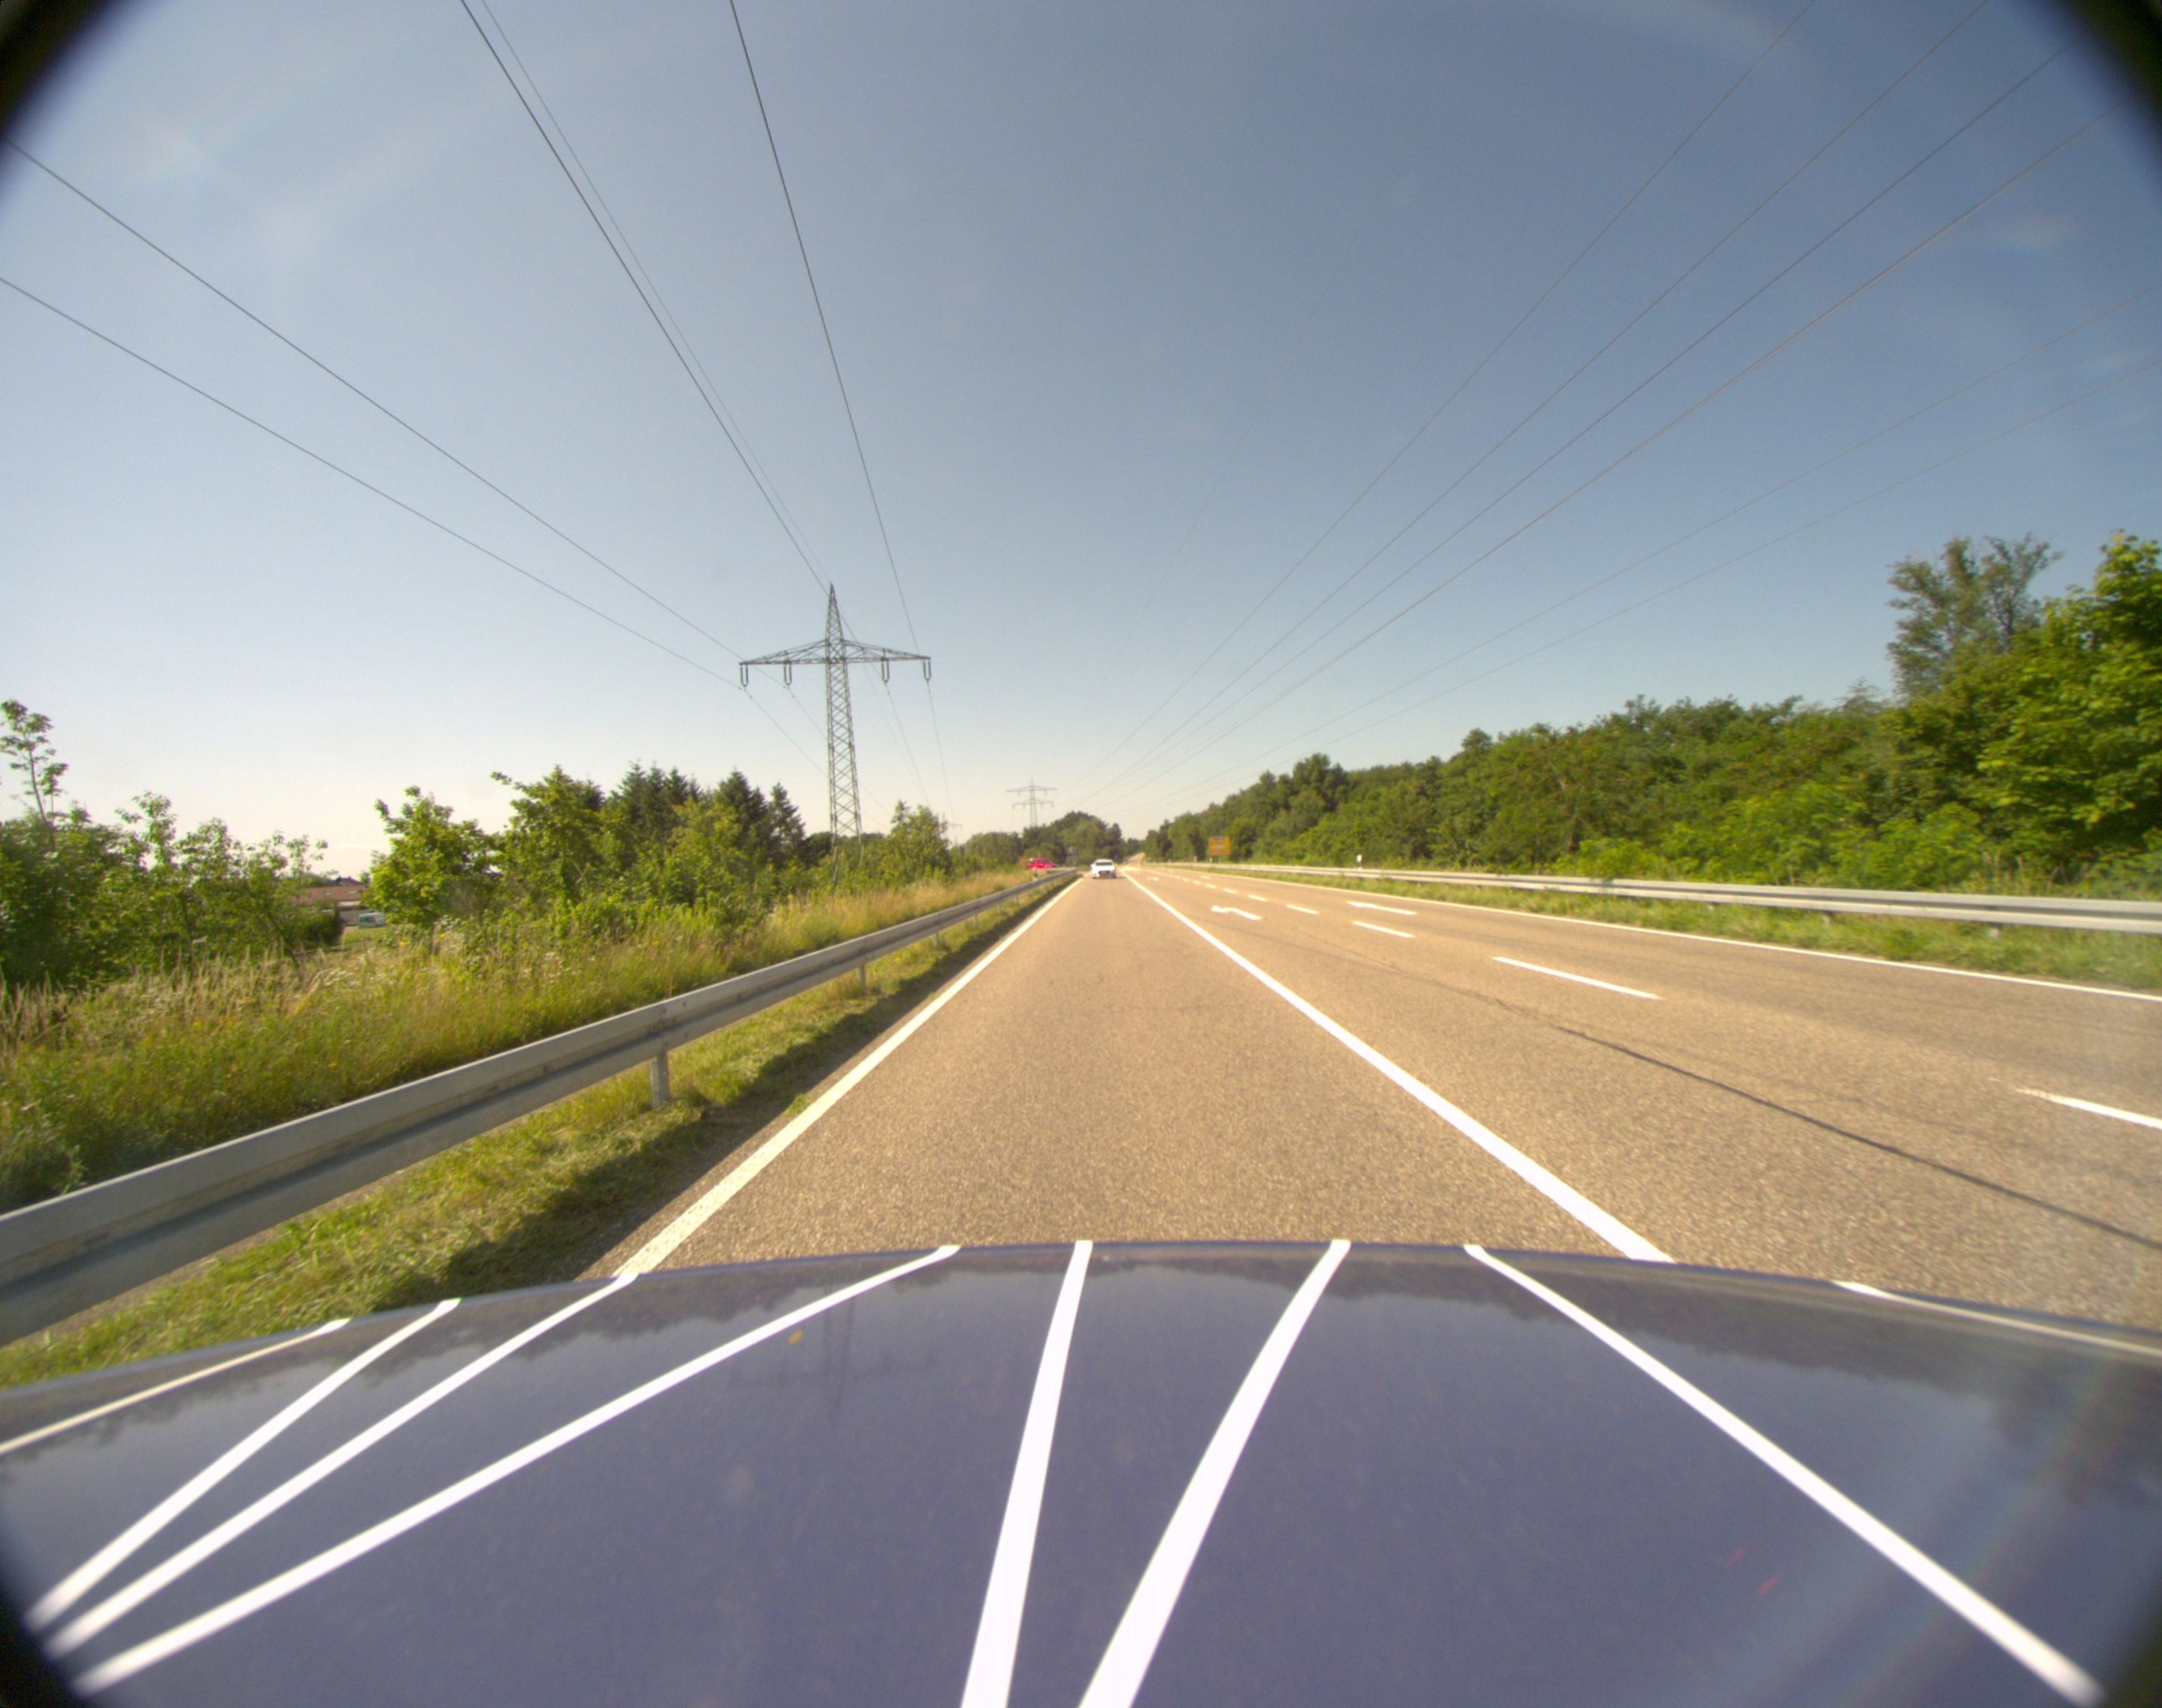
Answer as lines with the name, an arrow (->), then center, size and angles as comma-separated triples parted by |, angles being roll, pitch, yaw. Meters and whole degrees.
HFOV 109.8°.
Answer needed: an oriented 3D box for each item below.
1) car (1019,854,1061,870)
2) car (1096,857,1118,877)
car -> -5.114, 1.014, 94.628 | 4.826, 1.892, 1.799 | -1, 0, 23
car -> 2.087, 1.034, 61.153 | 1.683, 1.471, 4.473 | -1, 0, 1
